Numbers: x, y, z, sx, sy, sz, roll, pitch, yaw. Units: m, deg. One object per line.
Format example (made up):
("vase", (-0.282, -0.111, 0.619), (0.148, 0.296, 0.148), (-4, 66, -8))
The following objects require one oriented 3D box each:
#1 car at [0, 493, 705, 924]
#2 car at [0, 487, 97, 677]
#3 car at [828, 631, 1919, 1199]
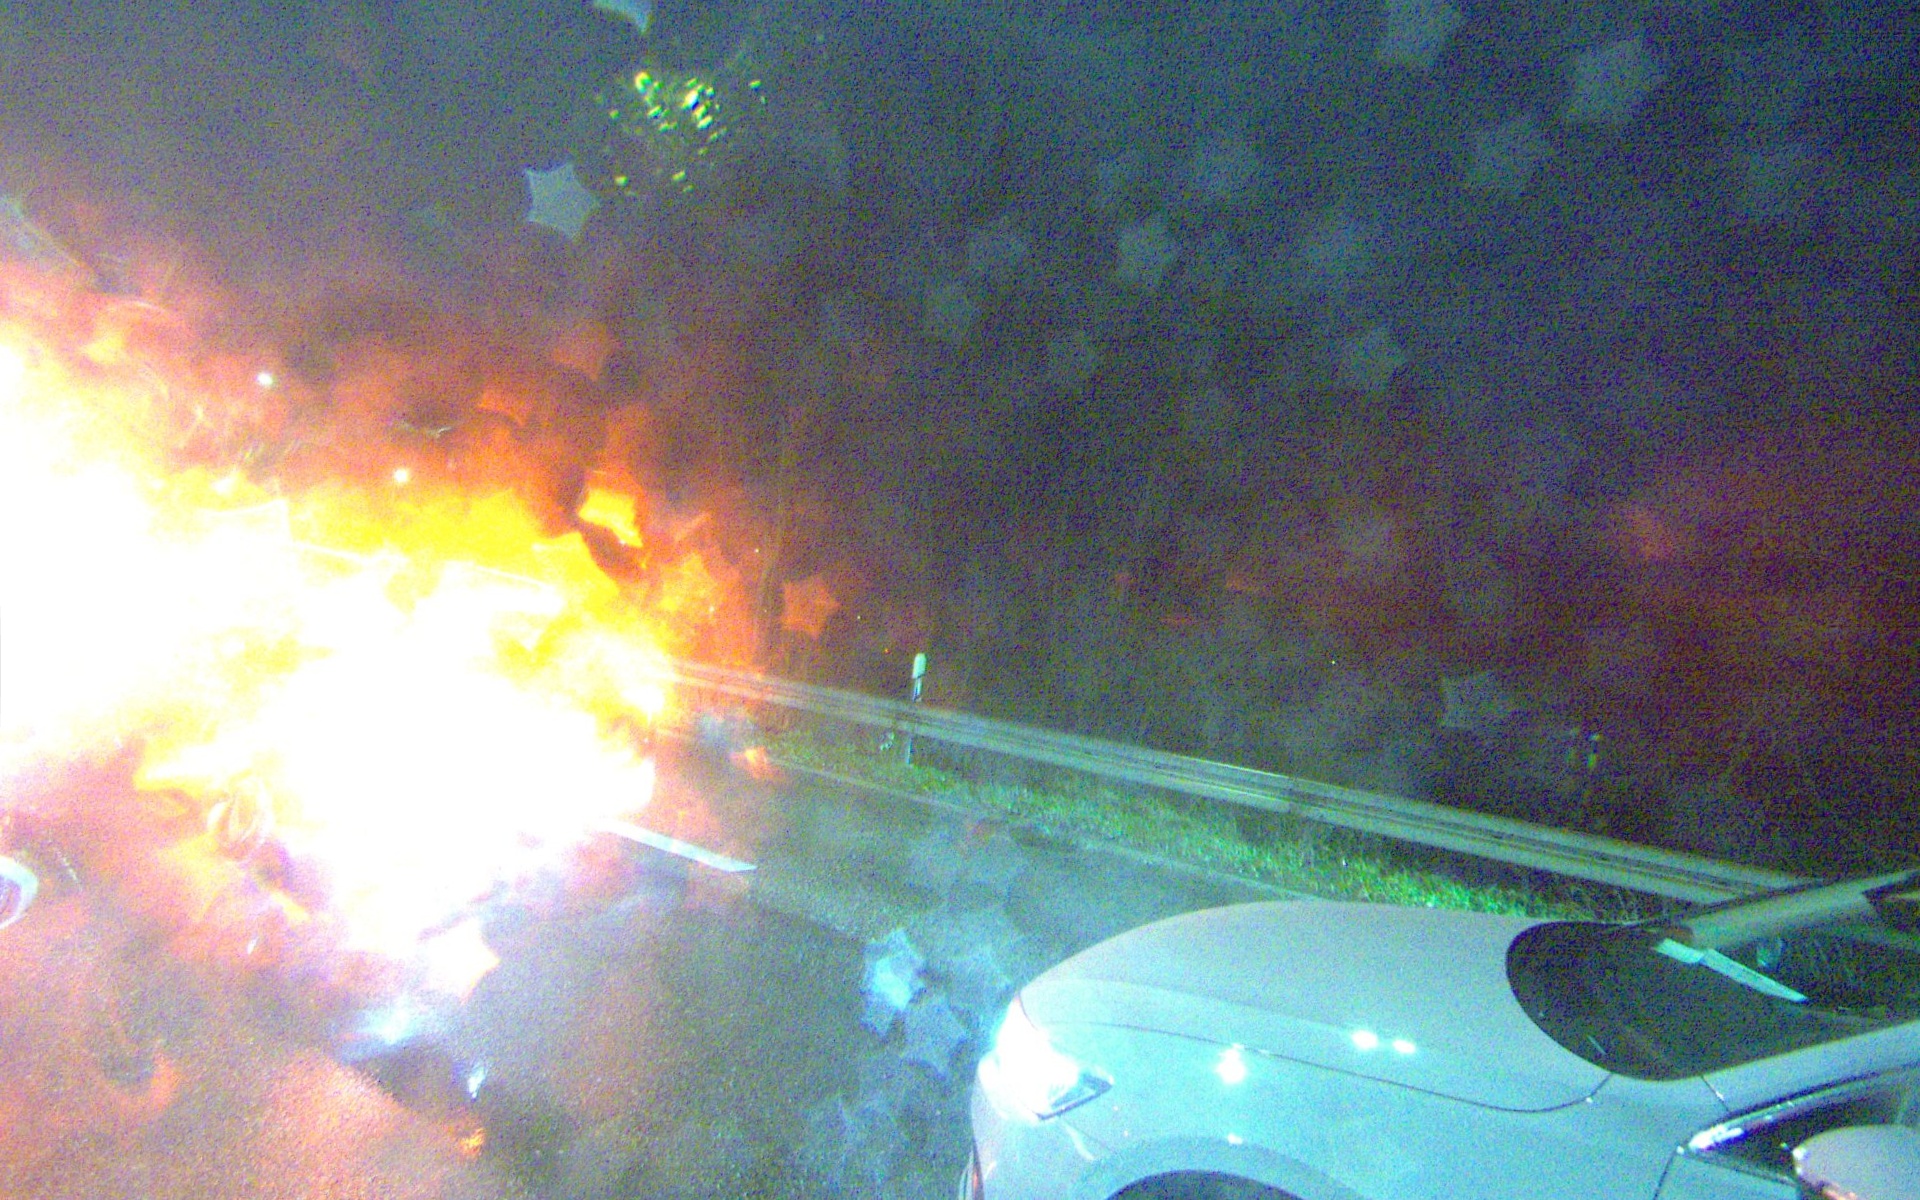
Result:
("car", (-3.769, 0.391, 5.774), (4.484, 1.522, 1.677), (6, -3, 32))
("car", (-9.721, -0.363, 8.999), (3.892, 1.539, 1.681), (6, -2, 29))
("car", (2.043, 1.109, 1.596), (4.342, 1.539, 1.710), (6, -2, 32))
